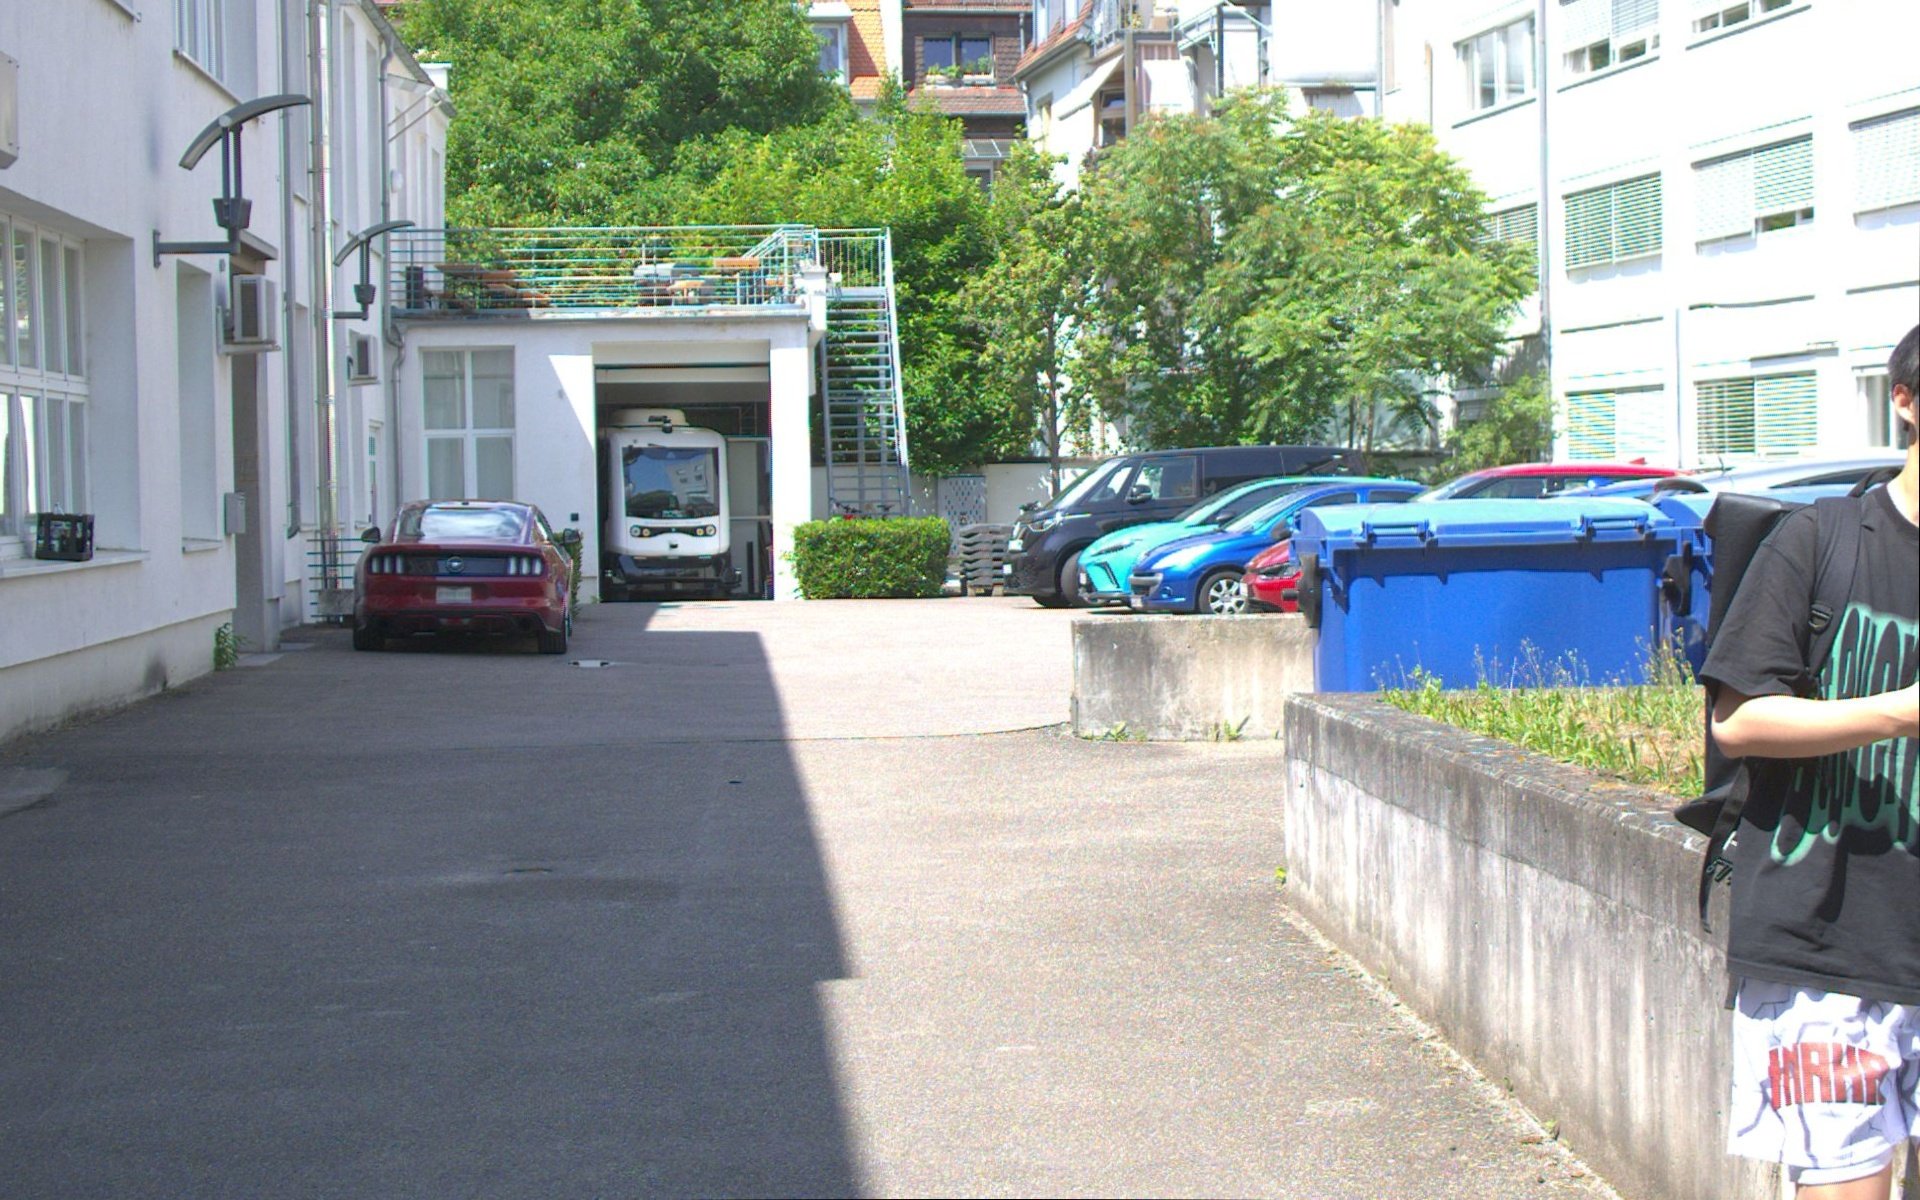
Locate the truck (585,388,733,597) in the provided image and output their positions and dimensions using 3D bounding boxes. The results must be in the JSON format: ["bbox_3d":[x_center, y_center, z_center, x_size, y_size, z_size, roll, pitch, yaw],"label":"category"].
[{"bbox_3d":[-4.510,-1.590,50.957,1.787,2.927,4.655,-1,2,-9],"label":"truck"}]

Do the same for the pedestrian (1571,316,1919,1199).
[{"bbox_3d":[1.310,0.501,4.743,0.757,1.749,0.751,-1,2,-3],"label":"pedestrian"}]

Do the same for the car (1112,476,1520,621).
[{"bbox_3d":[3.730,-0.567,36.431,3.986,1.385,1.805,-2,2,-5],"label":"car"}]

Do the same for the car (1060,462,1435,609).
[{"bbox_3d":[3.254,-0.757,39.382,3.986,1.529,1.805,-2,2,-5],"label":"car"}]

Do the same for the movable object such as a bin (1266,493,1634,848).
[{"bbox_3d":[1.946,0.252,13.830,1.192,1.322,1.161,-2,2,-6],"label":"movable object such as a bin"}]

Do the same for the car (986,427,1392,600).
[{"bbox_3d":[2.777,-1.084,42.390,4.677,1.951,2.077,-2,2,-5],"label":"car"}]

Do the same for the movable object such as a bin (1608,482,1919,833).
[{"bbox_3d":[3.394,0.202,13.909,1.216,1.322,1.161,-2,2,-6],"label":"movable object such as a bin"}]

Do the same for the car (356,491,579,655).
[{"bbox_3d":[-4.498,-0.299,31.891,1.798,1.385,4.001,-1,2,-5],"label":"car"}]

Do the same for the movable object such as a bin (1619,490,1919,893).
[{"bbox_3d":[3.077,0.290,12.164,1.216,1.322,1.161,-2,2,-1],"label":"movable object such as a bin"}]

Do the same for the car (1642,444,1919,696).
[{"bbox_3d":[6.520,-0.256,21.634,3.986,1.473,1.805,-2,2,-5],"label":"car"}]

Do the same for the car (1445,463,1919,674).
[{"bbox_3d":[5.731,-0.269,25.107,3.986,1.385,1.805,-2,2,-5],"label":"car"}]

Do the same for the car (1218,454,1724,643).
[{"bbox_3d":[4.380,-0.473,29.816,3.986,1.473,1.805,-2,2,-5],"label":"car"}]

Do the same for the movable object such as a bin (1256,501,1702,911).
[{"bbox_3d":[1.786,0.337,12.060,1.339,1.322,1.161,-2,2,-1],"label":"movable object such as a bin"}]
